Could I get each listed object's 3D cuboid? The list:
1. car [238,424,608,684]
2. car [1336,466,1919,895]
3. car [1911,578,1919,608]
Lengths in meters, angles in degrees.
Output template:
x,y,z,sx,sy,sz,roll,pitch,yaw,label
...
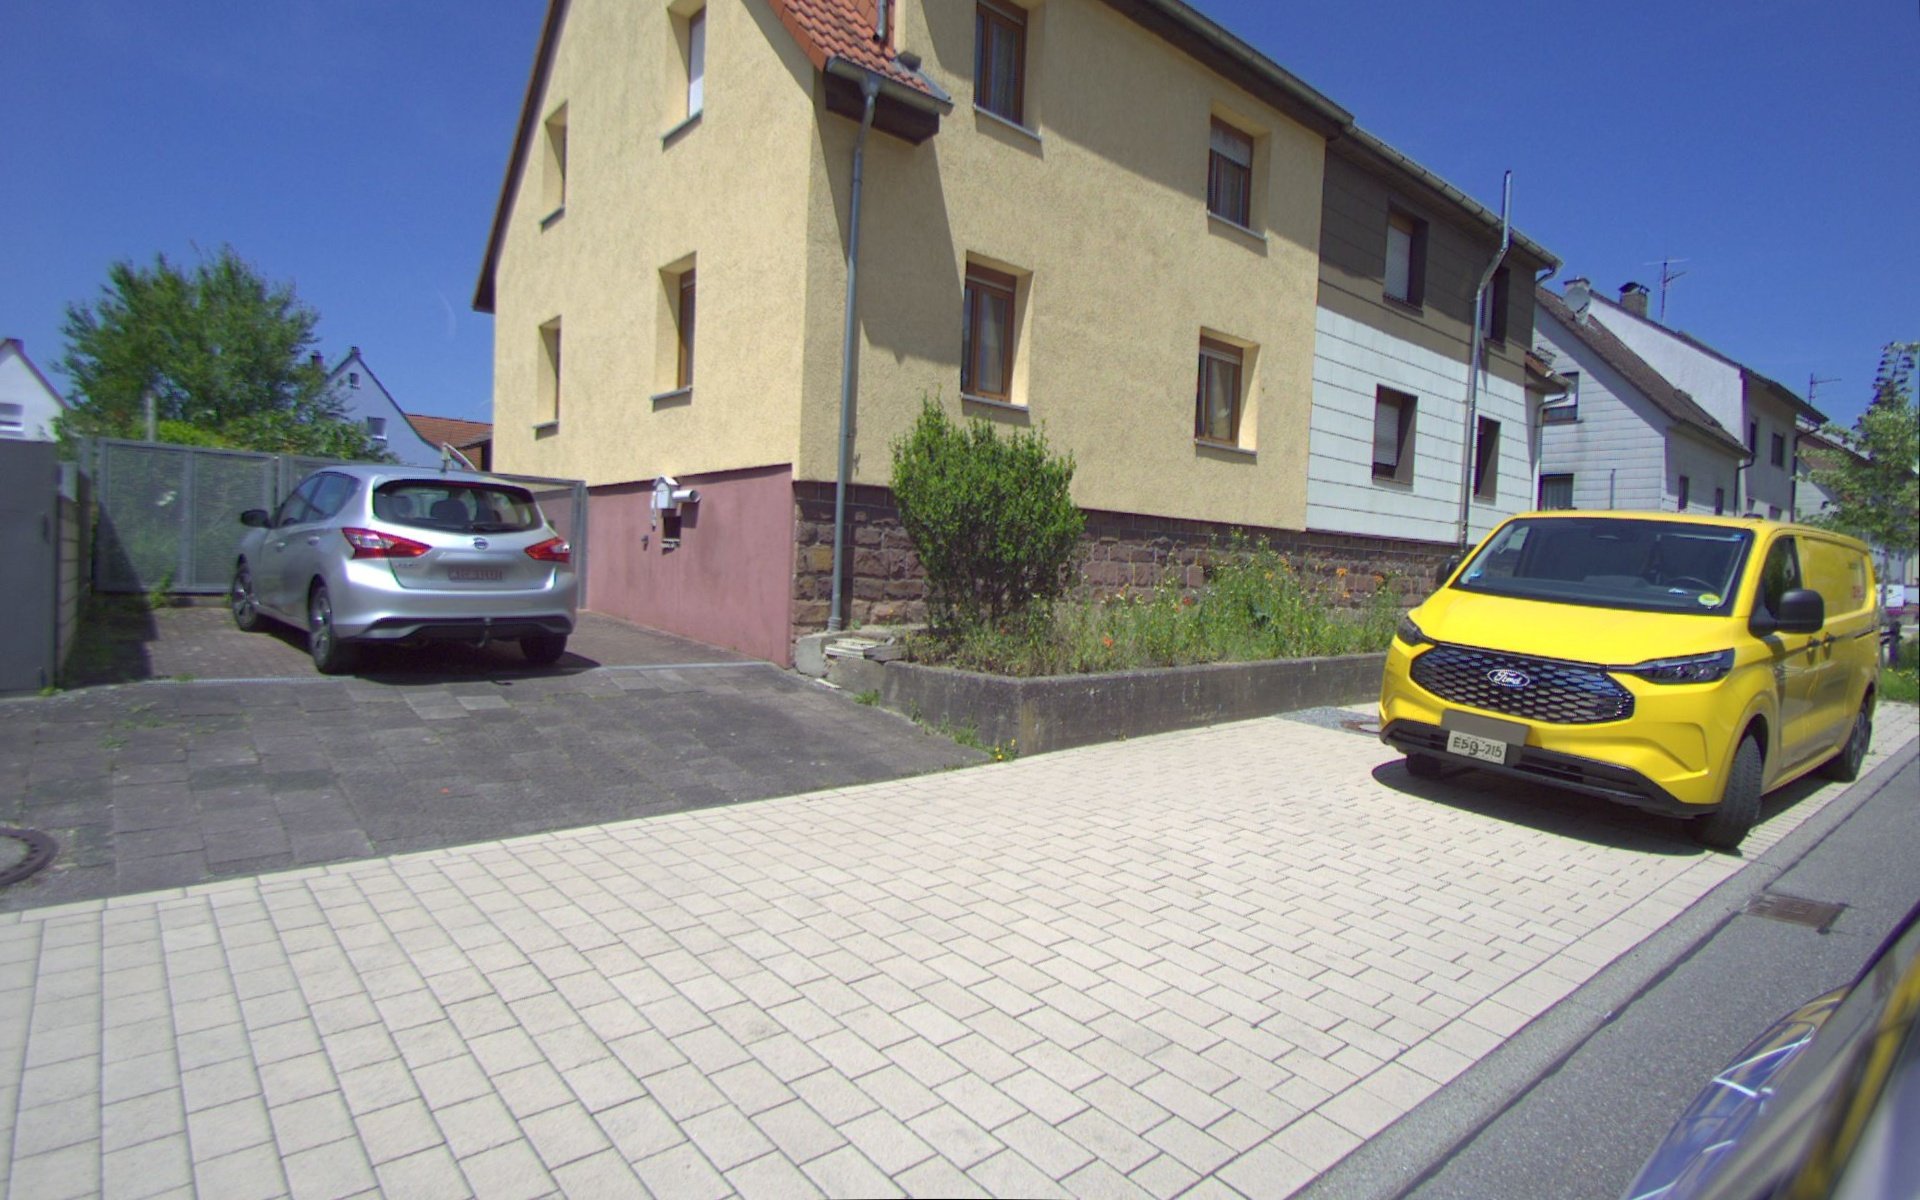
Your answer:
x,y,z,sx,sy,sz,roll,pitch,yaw,label
-4.772,-0.478,8.691,1.843,1.696,3.995,0,5,-43,car
5.232,0.236,7.479,5.527,2.037,2.194,-1,7,-42,car
55.127,-0.345,56.826,4.428,1.640,1.868,-1,6,-40,car
